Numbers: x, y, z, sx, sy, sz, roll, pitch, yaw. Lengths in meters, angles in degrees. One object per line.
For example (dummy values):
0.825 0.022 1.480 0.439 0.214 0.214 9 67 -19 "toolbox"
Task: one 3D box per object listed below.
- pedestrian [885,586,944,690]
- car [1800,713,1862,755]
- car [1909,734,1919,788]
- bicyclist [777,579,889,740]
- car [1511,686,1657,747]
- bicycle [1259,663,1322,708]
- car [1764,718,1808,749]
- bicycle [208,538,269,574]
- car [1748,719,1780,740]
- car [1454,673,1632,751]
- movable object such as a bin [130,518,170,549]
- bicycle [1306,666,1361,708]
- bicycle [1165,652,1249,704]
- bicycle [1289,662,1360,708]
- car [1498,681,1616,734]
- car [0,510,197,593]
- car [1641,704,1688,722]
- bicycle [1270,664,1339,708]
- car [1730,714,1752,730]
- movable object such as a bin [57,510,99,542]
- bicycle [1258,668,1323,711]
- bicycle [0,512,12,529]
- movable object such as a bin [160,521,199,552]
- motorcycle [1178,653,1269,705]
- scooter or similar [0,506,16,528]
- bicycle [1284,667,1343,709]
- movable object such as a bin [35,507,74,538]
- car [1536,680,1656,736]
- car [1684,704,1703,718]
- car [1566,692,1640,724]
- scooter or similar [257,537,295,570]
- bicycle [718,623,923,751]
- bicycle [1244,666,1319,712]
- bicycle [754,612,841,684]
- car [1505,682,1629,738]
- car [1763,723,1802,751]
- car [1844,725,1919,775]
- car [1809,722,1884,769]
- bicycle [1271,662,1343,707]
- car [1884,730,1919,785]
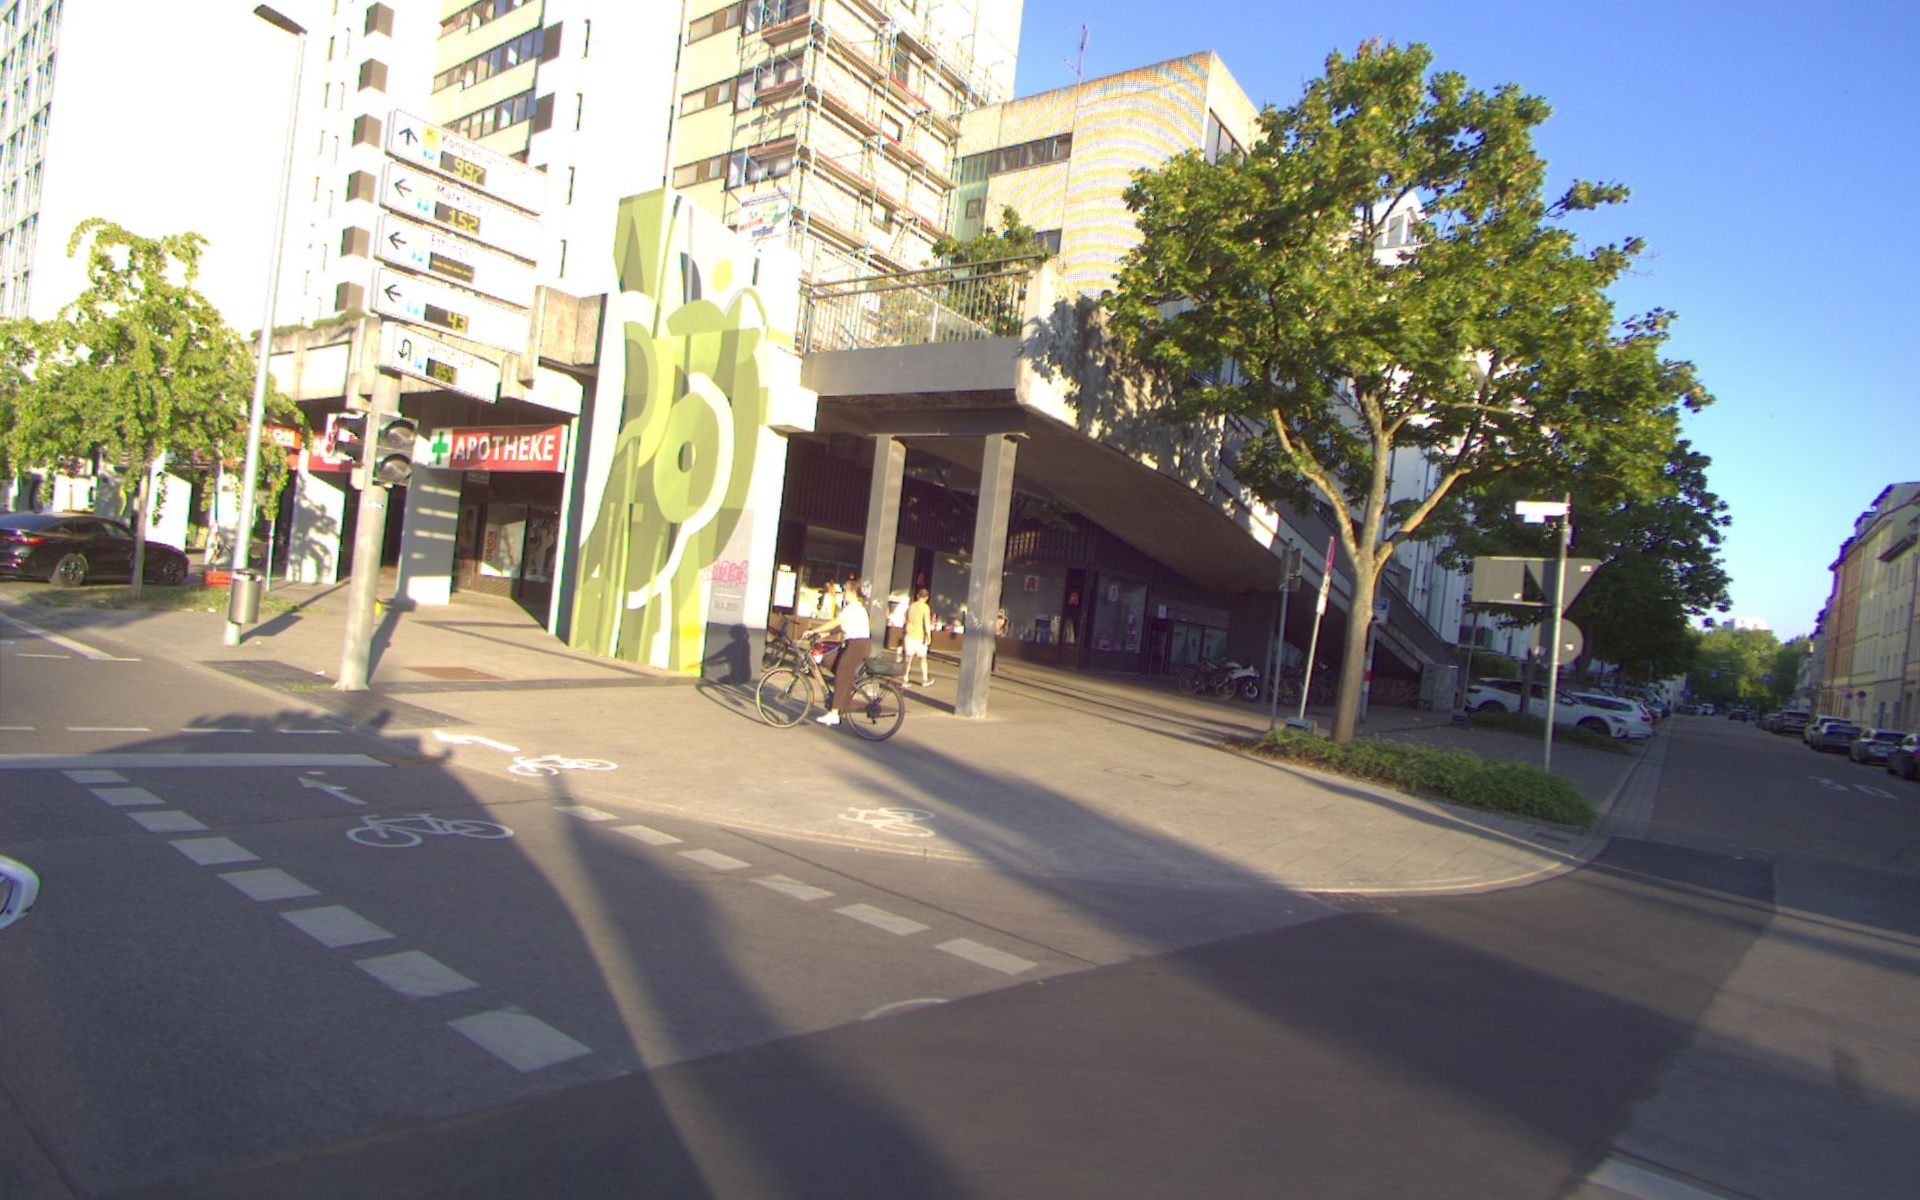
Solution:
-0.815 0.676 18.201 0.685 1.774 0.724 8 3 13 "pedestrian"
47.456 7.327 54.877 2.003 1.848 4.771 7 -3 37 "car"
27.904 4.638 27.912 1.581 1.504 3.988 6 -1 35 "car"
-1.457 0.671 11.678 0.943 1.713 0.820 6 1 9 "bicyclist"
21.796 4.067 35.263 4.112 1.477 1.752 7 -3 33 "car"
9.404 2.425 28.636 1.542 1.051 0.484 7 1 33 "bicycle"
59.540 9.639 72.552 2.003 1.848 4.771 7 -3 37 "car"
-24.421 -1.477 34.051 0.426 1.062 1.571 7 1 35 "bicycle"
75.254 12.177 94.164 2.003 1.539 4.390 6 -3 37 "car"
18.390 3.518 31.824 4.555 1.711 1.750 6 -3 37 "car"
-39.762 -3.276 49.364 1.107 1.329 1.182 7 0 35 "movable object such as a bin"
12.182 2.825 32.809 1.539 1.142 0.649 7 1 24 "bicycle"
6.460 2.033 26.330 1.891 1.071 0.781 7 1 32 "bicycle"
11.434 2.645 31.555 1.914 1.142 0.649 7 1 24 "bicycle"
24.813 4.469 41.841 3.968 1.553 1.638 6 -3 36 "car"
-18.522 -0.993 21.030 1.781 1.472 4.602 6 0 -4 "car"
94.106 15.070 134.396 4.842 1.539 2.027 6 -3 40 "car"
10.321 2.571 30.158 1.801 1.051 0.484 7 1 33 "bicycle"
99.645 15.587 128.399 2.003 1.539 4.390 6 -3 37 "car"
-41.209 -3.459 46.986 1.247 1.340 1.181 7 2 35 "movable object such as a bin"
9.166 2.466 27.919 1.542 0.963 0.484 7 1 33 "bicycle"
-54.707 -4.572 56.960 0.450 0.902 1.422 7 0 36 "bicycle"
-39.074 -3.169 50.346 1.071 1.329 1.182 7 0 35 "movable object such as a bin"
7.065 2.115 26.985 2.118 1.071 0.785 7 1 32 "motorcycle"
-57.180 -4.988 59.138 0.611 1.198 2.372 7 1 36 "scooter or similar"
10.824 2.678 30.828 1.539 1.051 0.649 7 1 24 "bicycle"
-44.676 -3.829 49.636 1.263 1.347 1.104 7 2 36 "movable object such as a bin"
27.642 4.687 43.770 4.217 1.774 1.638 6 -3 36 "car"
105.109 15.878 144.147 2.003 1.539 4.390 6 -3 37 "car"
37.594 6.312 58.847 3.482 1.336 1.441 6 -3 36 "car"
-29.165 -1.988 42.863 1.798 1.174 0.402 7 -2 27 "scooter or similar"
-1.599 0.977 11.700 2.107 1.188 0.820 6 1 9 "bicycle"
8.764 2.414 27.408 1.737 0.963 0.698 7 1 32 "bicycle"
-2.852 0.837 17.669 1.311 1.060 0.458 8 1 7 "bicycle"
23.966 4.331 39.752 3.968 1.553 1.638 6 -3 36 "car"
65.518 10.928 80.190 2.003 1.848 4.771 7 -3 37 "car"
36.294 5.881 39.481 1.708 1.573 4.193 7 -3 34 "car"
42.617 7.020 48.457 2.126 1.848 4.771 7 -3 37 "car"
11.190 2.708 32.439 2.045 1.142 0.649 7 1 24 "bicycle"
30.525 5.002 31.538 1.581 1.504 4.238 6 -1 35 "car"
